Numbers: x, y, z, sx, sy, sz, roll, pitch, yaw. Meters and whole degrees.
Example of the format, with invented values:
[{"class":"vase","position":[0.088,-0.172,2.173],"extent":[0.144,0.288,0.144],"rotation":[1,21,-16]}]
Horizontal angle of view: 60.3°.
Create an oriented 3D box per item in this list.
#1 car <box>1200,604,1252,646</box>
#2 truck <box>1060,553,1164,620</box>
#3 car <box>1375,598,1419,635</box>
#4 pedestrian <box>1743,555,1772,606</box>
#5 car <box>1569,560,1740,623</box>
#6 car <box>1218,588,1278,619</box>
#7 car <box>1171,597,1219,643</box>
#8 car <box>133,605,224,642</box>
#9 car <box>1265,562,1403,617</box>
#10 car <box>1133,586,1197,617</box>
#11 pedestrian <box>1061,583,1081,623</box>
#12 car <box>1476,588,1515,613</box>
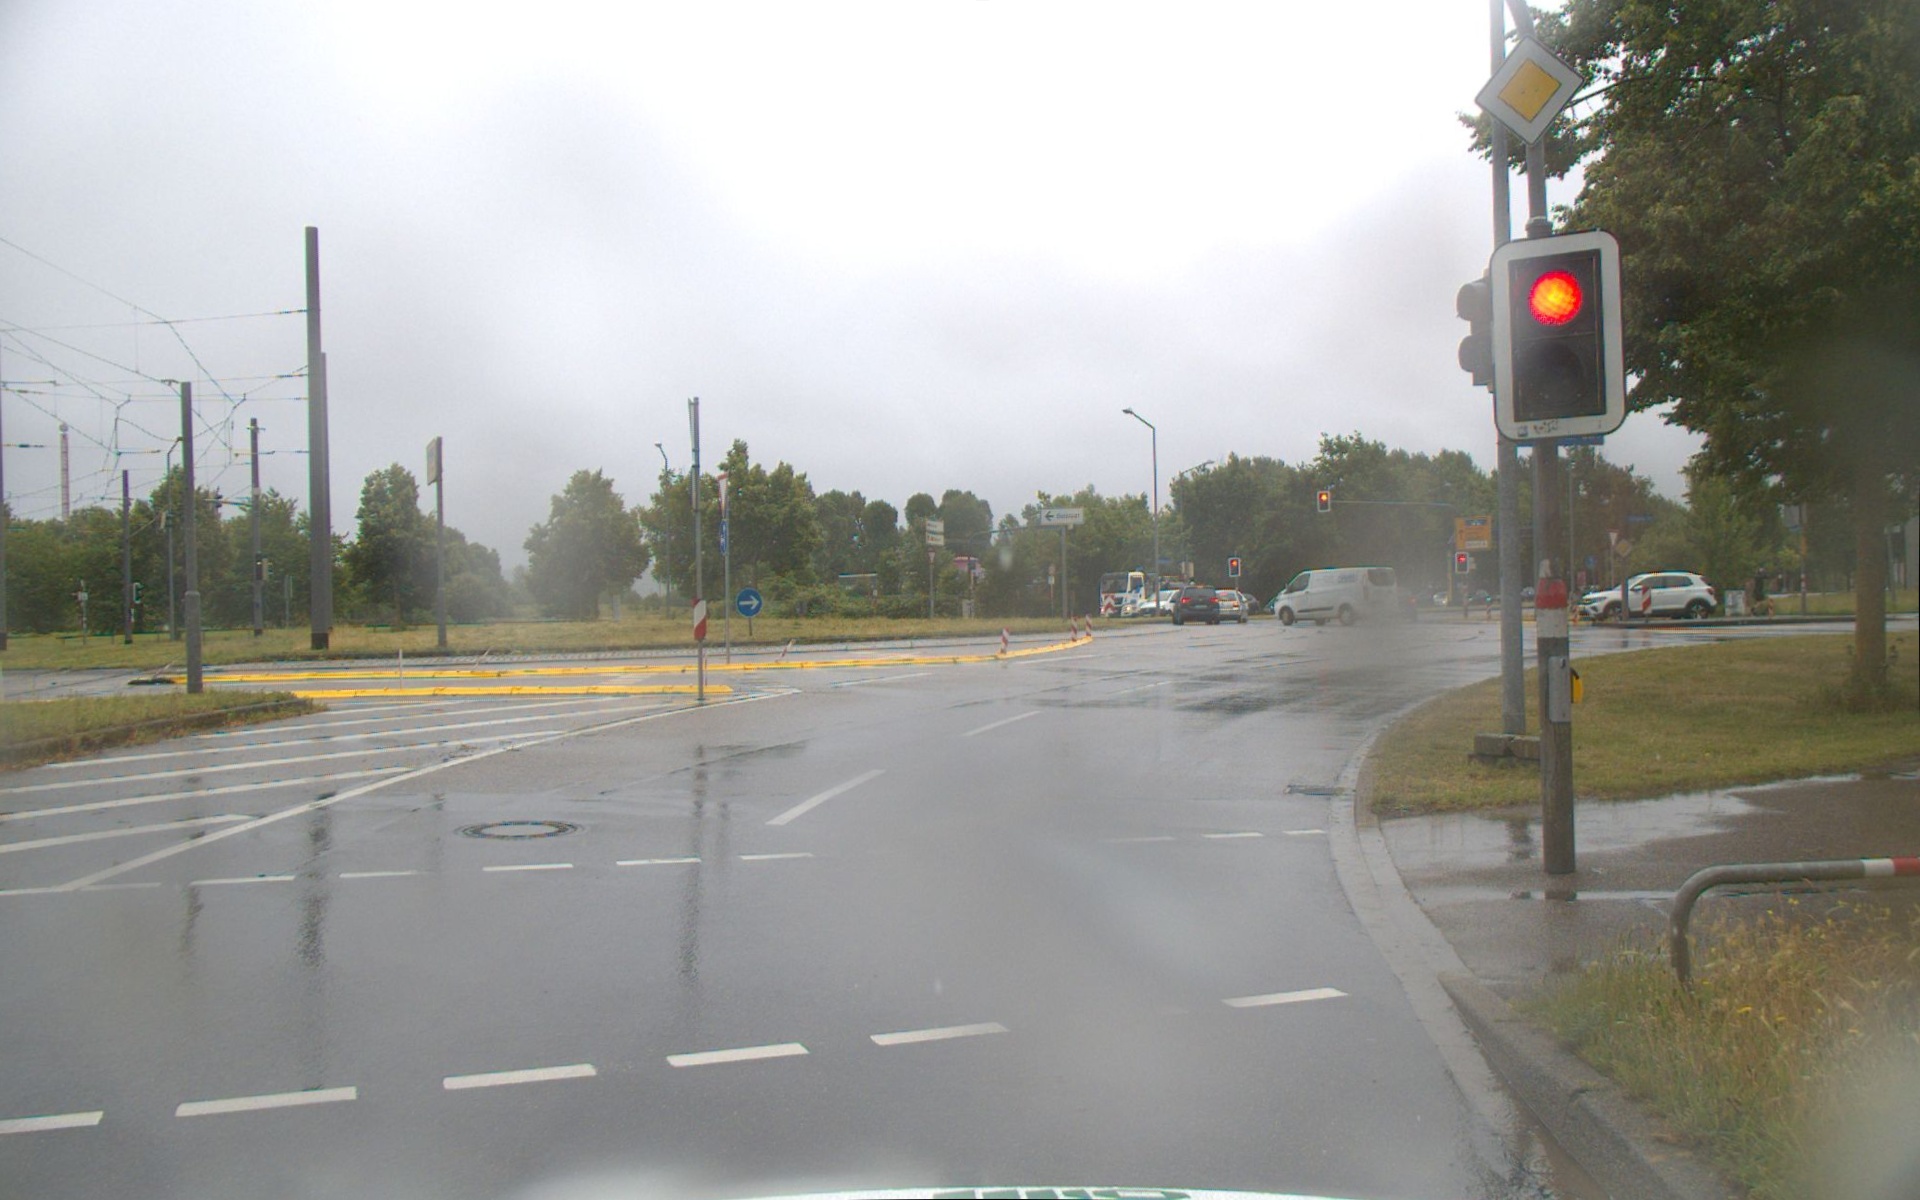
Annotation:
[{"class":"car","position":[12.467,1.159,77.316],"extent":[1.951,1.884,4.779],"rotation":[1,-1,14]},{"class":"truck","position":[6.920,-0.539,74.222],"extent":[2.411,2.733,8.058],"rotation":[1,-1,22]},{"class":"car","position":[18.840,0.691,71.369],"extent":[1.583,1.479,3.991],"rotation":[-1,0,11]},{"class":"pedestrian","position":[30.144,-0.745,62.515],"extent":[0.799,1.901,0.668],"rotation":[1,-1,7]},{"class":"car","position":[22.118,-0.267,52.840],"extent":[4.659,1.883,2.002],"rotation":[-1,0,7]},{"class":"car","position":[17.114,0.212,98.052],"extent":[1.769,1.691,3.979],"rotation":[0,-1,40]},{"class":"car","position":[10.193,0.874,71.544],"extent":[1.951,1.884,4.779],"rotation":[1,-1,9]},{"class":"car","position":[-40.088,1.210,84.945],"extent":[1.644,1.848,3.994],"rotation":[1,-1,28]},{"class":"car","position":[13.436,-0.369,59.652],"extent":[1.978,1.884,4.713],"rotation":[2,-1,-37]},{"class":"car","position":[11.944,0.090,96.377],"extent":[1.769,1.691,4.112],"rotation":[0,-1,40]},{"class":"pedestrian","position":[3.634,0.095,54.372],"extent":[0.445,1.327,0.484],"rotation":[-1,0,38]},{"class":"car","position":[44.826,0.040,138.493],"extent":[1.961,2.049,3.983],"rotation":[0,-1,37]}]
